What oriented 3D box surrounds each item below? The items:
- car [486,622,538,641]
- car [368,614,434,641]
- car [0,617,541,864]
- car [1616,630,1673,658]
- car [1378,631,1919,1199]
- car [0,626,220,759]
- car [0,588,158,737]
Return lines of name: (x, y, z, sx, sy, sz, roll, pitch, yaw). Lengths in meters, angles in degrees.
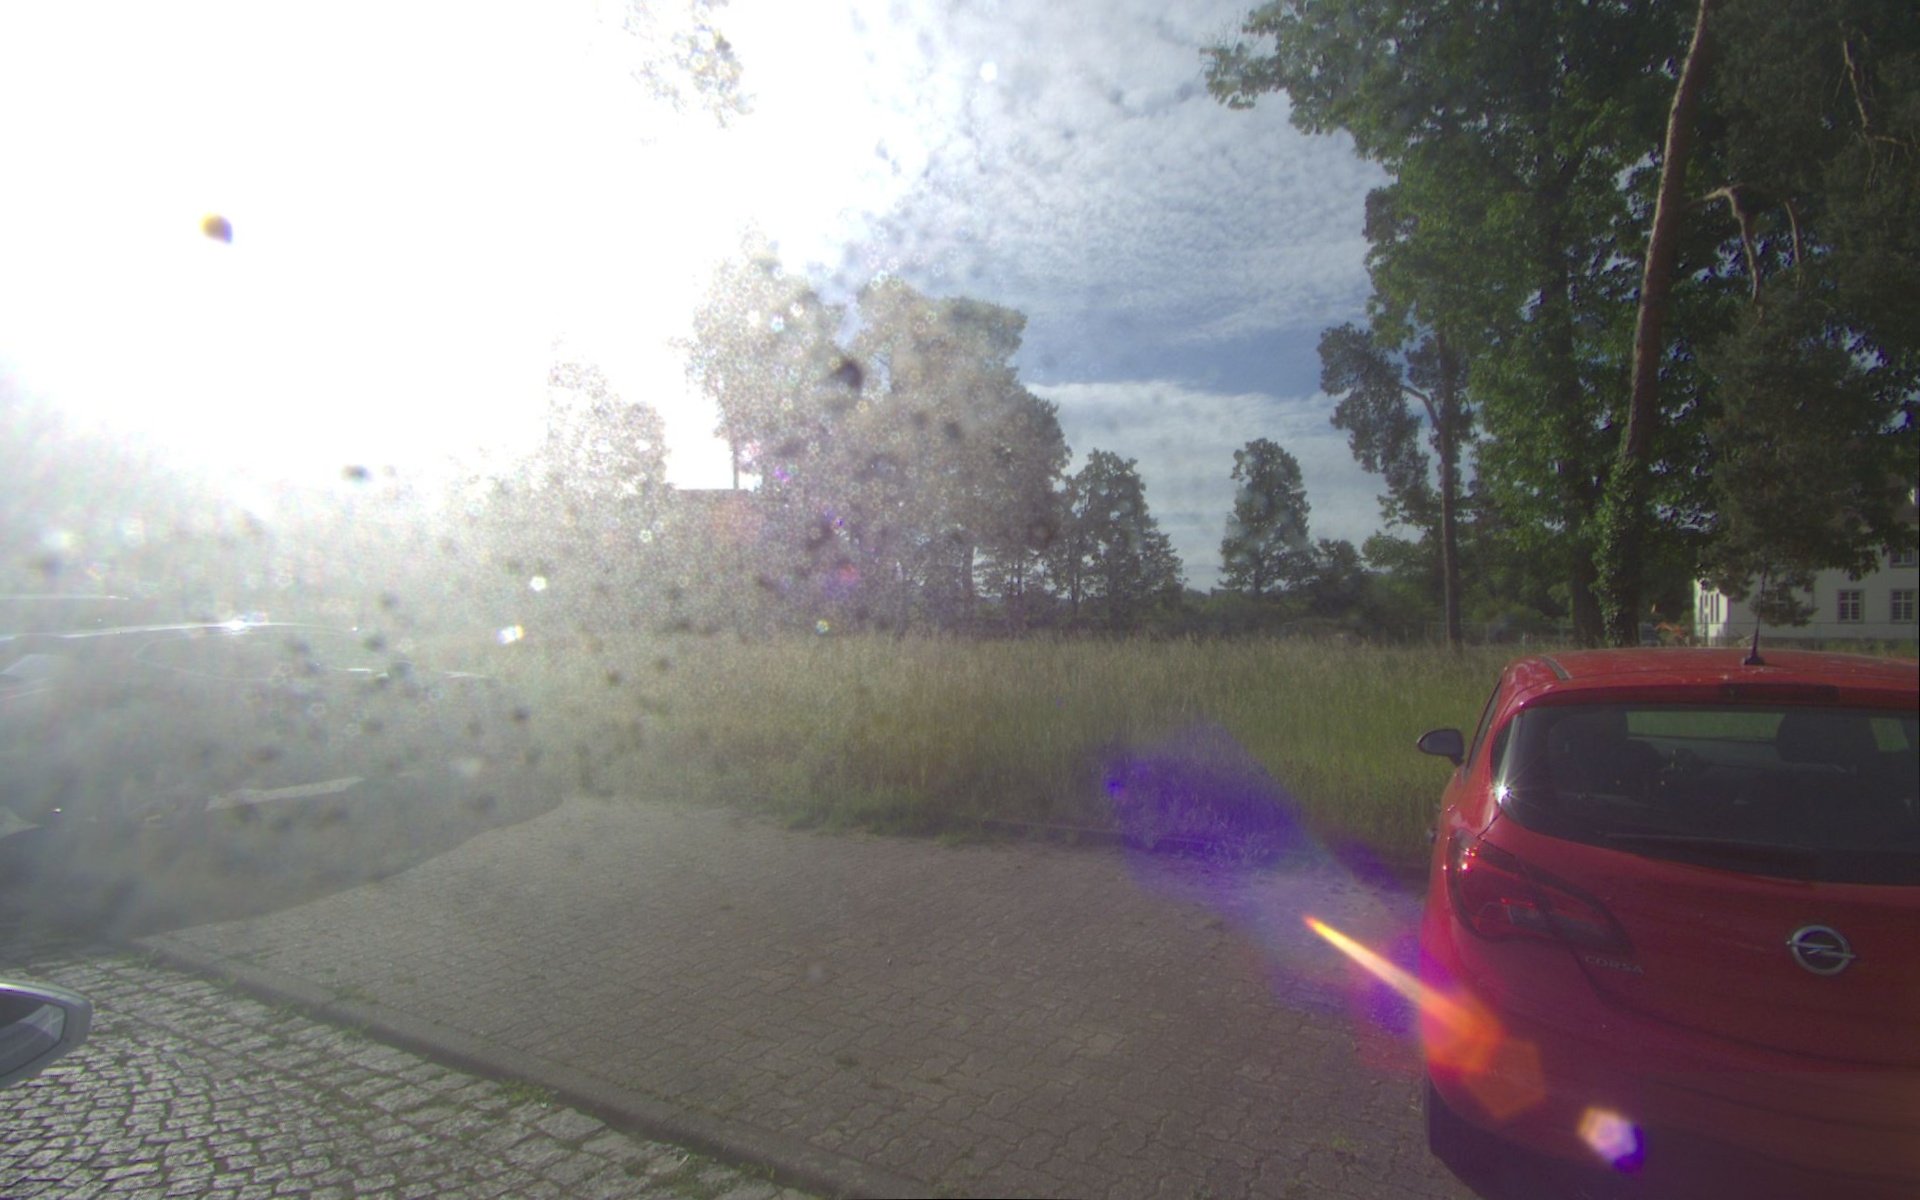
car: (-39.777, 2.824, 88.948, 1.827, 1.701, 3.931, -1, -2, 27)
car: (-53.766, 2.694, 96.438, 2.231, 2.568, 5.152, -1, -2, 31)
car: (-6.081, 0.967, 8.824, 1.849, 1.609, 4.187, -1, -1, 28)
car: (53.463, 3.421, 78.330, 2.589, 2.039, 5.652, -1, -2, 23)
car: (2.706, 0.903, 3.831, 1.661, 1.492, 3.873, -1, -1, 28)
car: (-11.563, 1.071, 11.847, 1.779, 1.488, 4.190, -1, -1, 26)
car: (-13.733, 0.841, 13.035, 1.962, 1.954, 4.727, -1, 0, 29)
